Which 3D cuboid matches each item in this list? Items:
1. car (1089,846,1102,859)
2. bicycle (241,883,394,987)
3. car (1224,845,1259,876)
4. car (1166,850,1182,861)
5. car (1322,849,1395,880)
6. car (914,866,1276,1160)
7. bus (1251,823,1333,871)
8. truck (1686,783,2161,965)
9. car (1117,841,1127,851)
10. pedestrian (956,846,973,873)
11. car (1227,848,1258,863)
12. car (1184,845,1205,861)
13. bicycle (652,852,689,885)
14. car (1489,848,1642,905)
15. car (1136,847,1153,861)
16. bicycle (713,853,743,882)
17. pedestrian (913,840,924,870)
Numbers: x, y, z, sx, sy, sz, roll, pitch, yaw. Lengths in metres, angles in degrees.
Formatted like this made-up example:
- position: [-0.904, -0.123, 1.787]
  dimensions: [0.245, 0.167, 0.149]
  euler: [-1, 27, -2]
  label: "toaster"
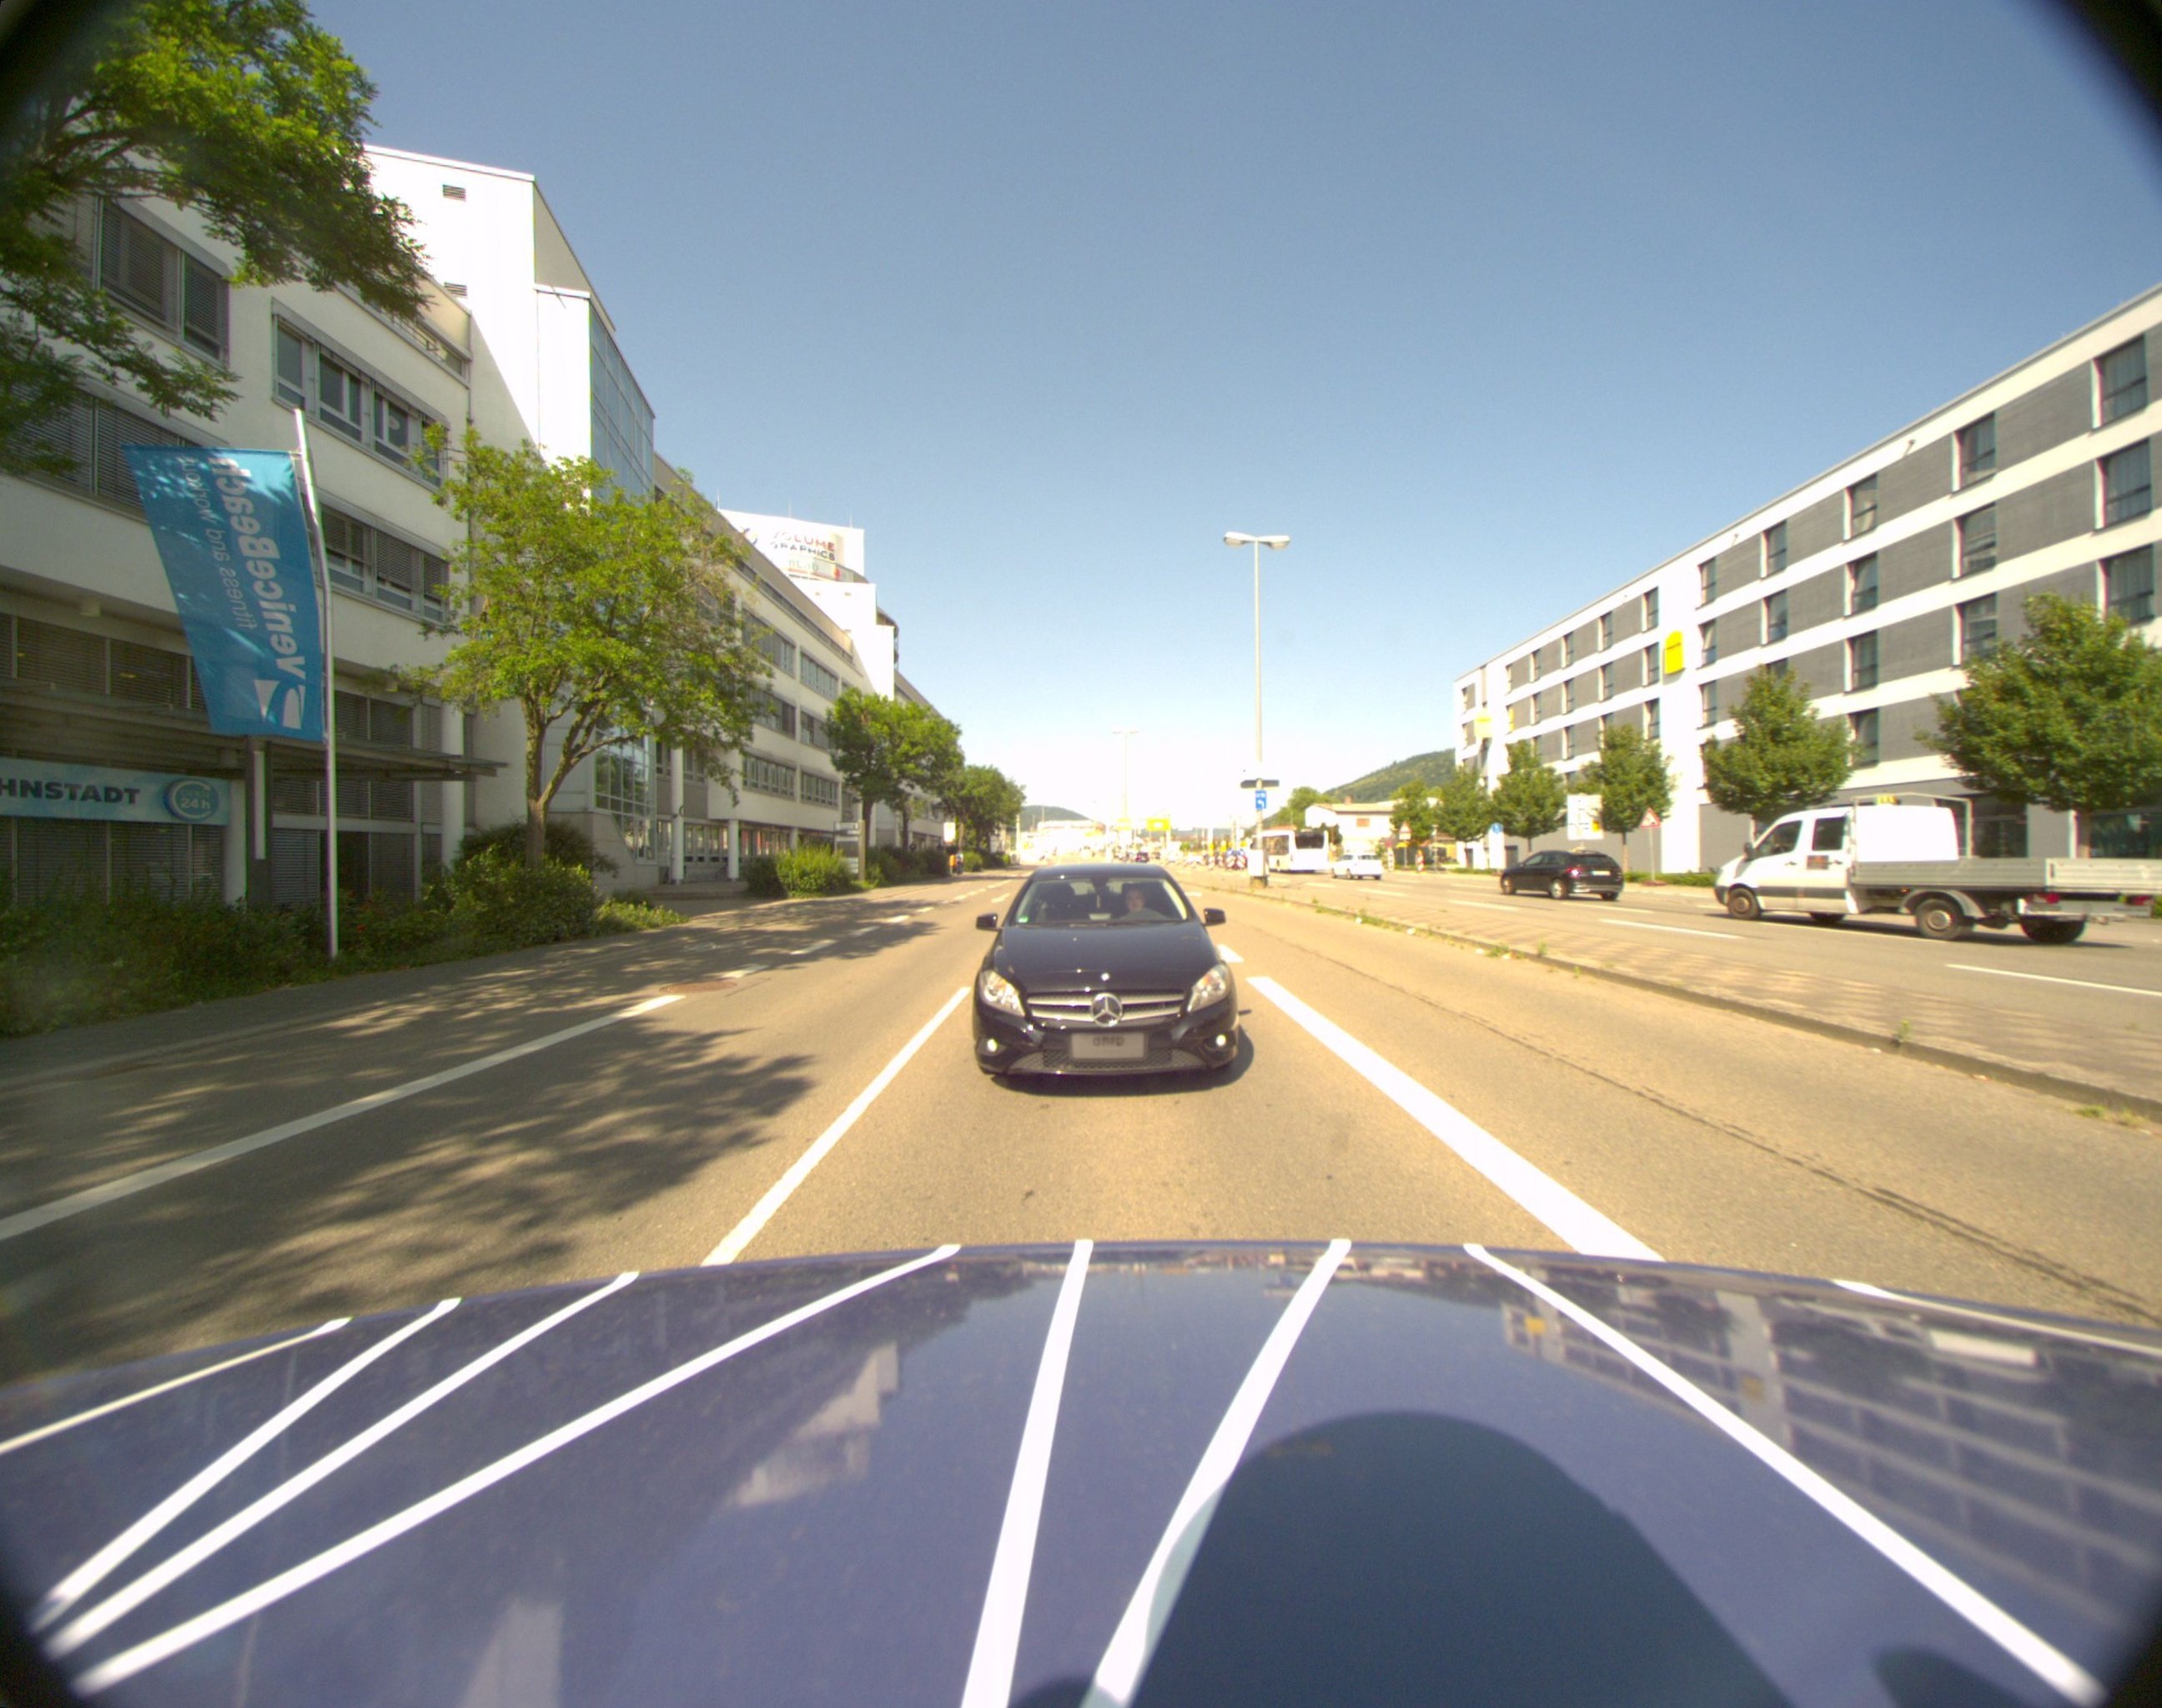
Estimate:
- position: [2.567, -0.275, 134.158]
  dimensions: [1.998, 2.002, 4.000]
  euler: [-2, 1, 3]
  label: "car"
- position: [-11.103, 1.126, 11.152]
  dimensions: [0.506, 1.321, 1.883]
  euler: [-1, 0, -7]
  label: "bicycle"
- position: [11.495, 0.443, 54.711]
  dimensions: [1.679, 2.002, 4.164]
  euler: [-2, 1, 1]
  label: "car"
- position: [14.237, 0.260, 115.901]
  dimensions: [1.719, 1.609, 3.590]
  euler: [-1, 1, -4]
  label: "car"
- position: [14.947, 0.520, 41.209]
  dimensions: [1.999, 1.477, 4.410]
  euler: [2, 1, -4]
  label: "car"
- position: [0.128, 0.885, 6.380]
  dimensions: [1.905, 1.431, 4.693]
  euler: [-1, 1, 1]
  label: "car"
- position: [15.139, -0.520, 55.723]
  dimensions: [2.745, 3.061, 11.974]
  euler: [1, 1, 0]
  label: "bus"
- position: [15.021, 0.213, 14.044]
  dimensions: [2.363, 2.531, 6.434]
  euler: [3, 2, 0]
  label: "truck"
- position: [8.882, -1.816, 163.267]
  dimensions: [1.998, 2.002, 3.999]
  euler: [-2, 1, 2]
  label: "car"
- position: [-8.445, 0.394, 55.077]
  dimensions: [0.942, 1.876, 1.289]
  euler: [2, 1, 1]
  label: "pedestrian"
- position: [15.669, 0.136, 73.937]
  dimensions: [1.998, 1.424, 4.891]
  euler: [-1, 1, 1]
  label: "car"
- position: [14.927, -0.163, 100.180]
  dimensions: [1.999, 2.001, 3.999]
  euler: [2, -1, -3]
  label: "car"
- position: [-17.588, 0.601, 32.623]
  dimensions: [0.506, 1.346, 1.884]
  euler: [-1, 1, 1]
  label: "bicycle"
- position: [15.227, 0.629, 24.231]
  dimensions: [1.999, 1.569, 4.411]
  euler: [-1, 1, -2]
  label: "car"
- position: [7.444, -0.008, 89.901]
  dimensions: [1.889, 1.608, 4.135]
  euler: [-1, 1, 3]
  label: "car"
- position: [-17.189, 0.625, 37.016]
  dimensions: [0.506, 1.346, 1.884]
  euler: [-1, 1, 1]
  label: "bicycle"
- position: [-13.530, 0.079, 63.305]
  dimensions: [0.717, 2.534, 0.716]
  euler: [-1, 1, -1]
  label: "pedestrian"
